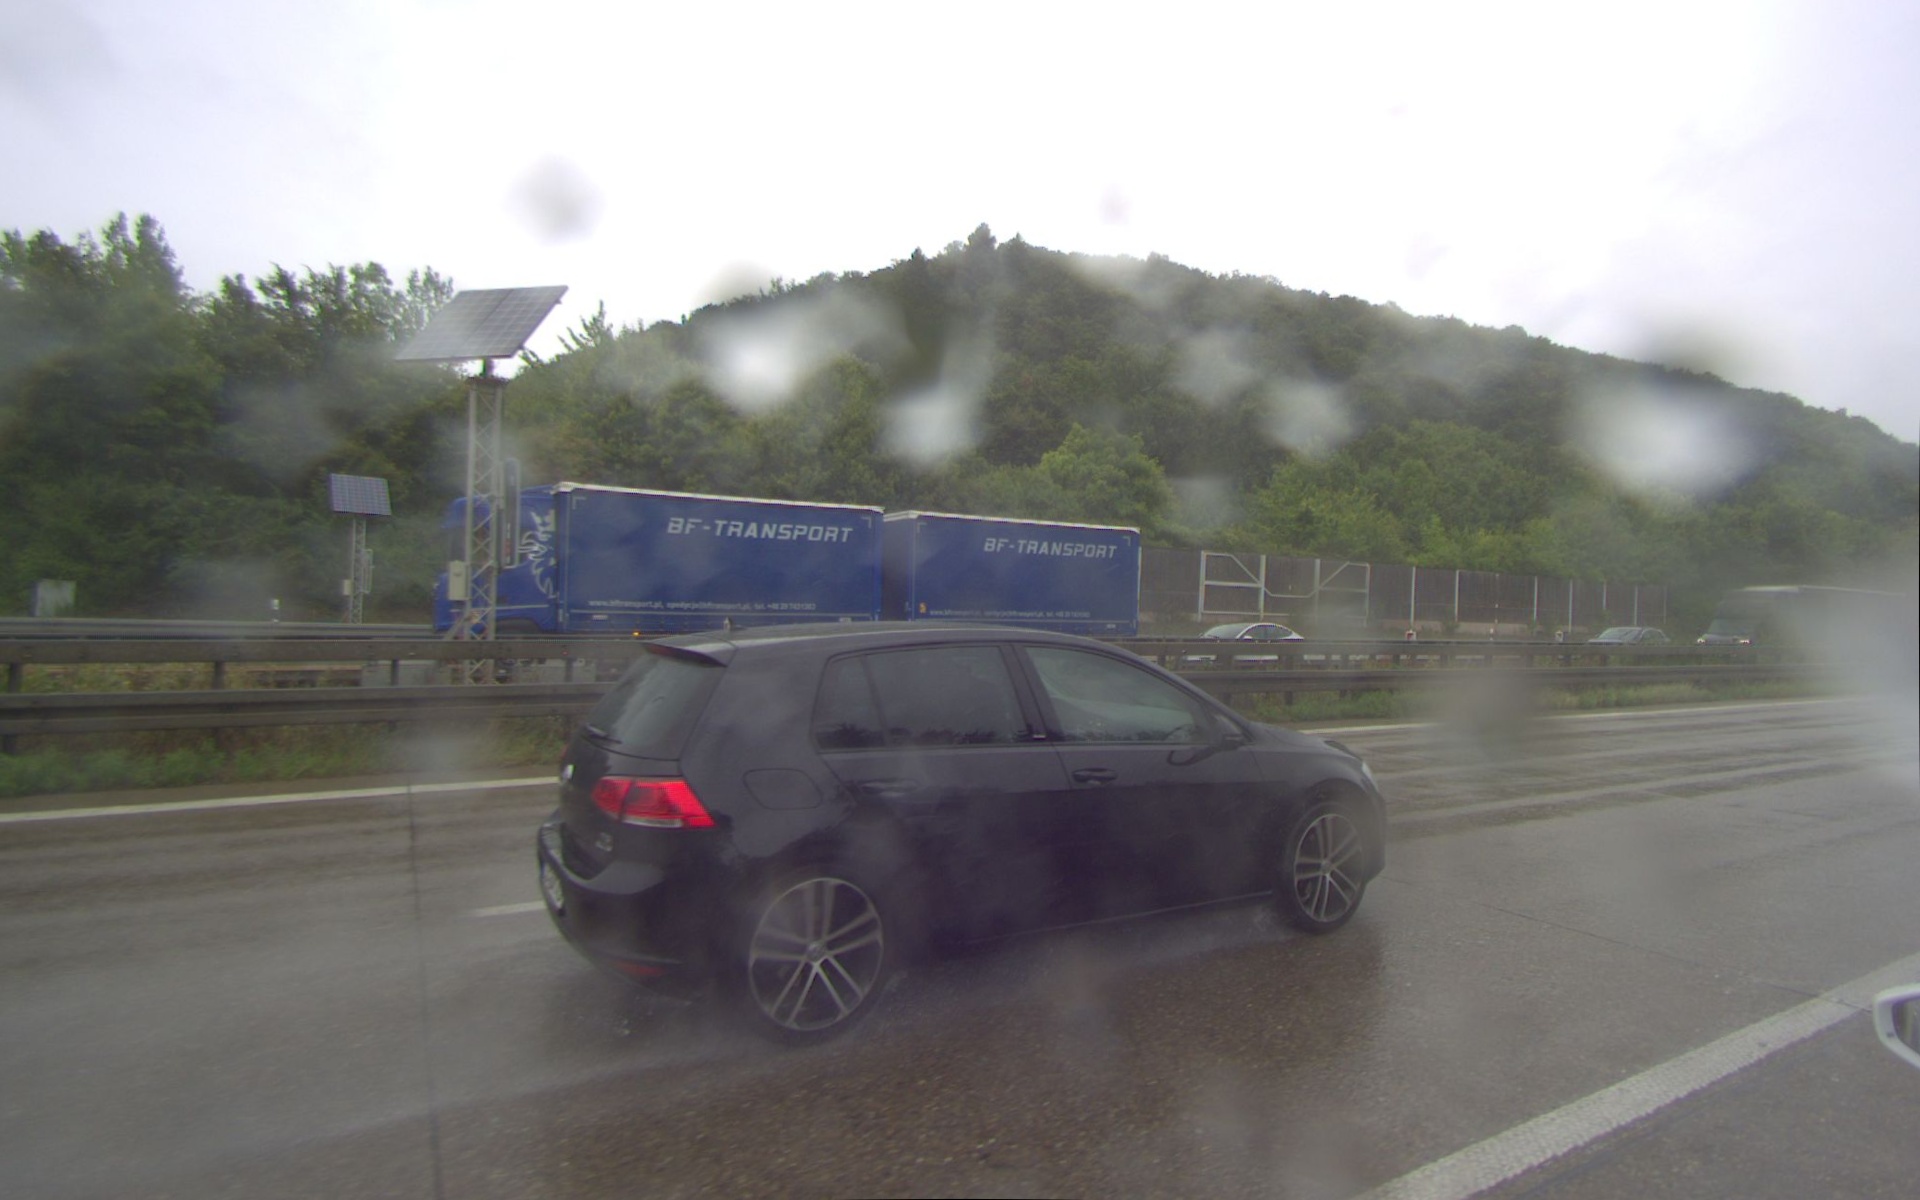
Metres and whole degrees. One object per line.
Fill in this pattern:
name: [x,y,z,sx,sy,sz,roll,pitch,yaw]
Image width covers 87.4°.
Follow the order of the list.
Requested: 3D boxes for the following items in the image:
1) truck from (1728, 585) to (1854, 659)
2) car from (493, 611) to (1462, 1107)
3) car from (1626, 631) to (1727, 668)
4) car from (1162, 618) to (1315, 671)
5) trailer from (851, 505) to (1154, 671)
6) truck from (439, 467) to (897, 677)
truck: [45.761,1.201,55.258,7.589,3.852,2.762,1,1,-30]
car: [0.249,0.813,4.701,4.271,1.406,1.732,2,-2,-30]
car: [29.293,1.999,41.020,4.374,1.357,1.743,1,1,-31]
car: [8.085,1.272,29.036,4.374,1.357,1.743,1,1,-31]
trailer: [1.356,-0.245,28.796,8.427,4.210,2.834,1,1,-31]
truck: [-6.647,-0.478,23.946,10.061,4.210,2.833,1,1,-31]
